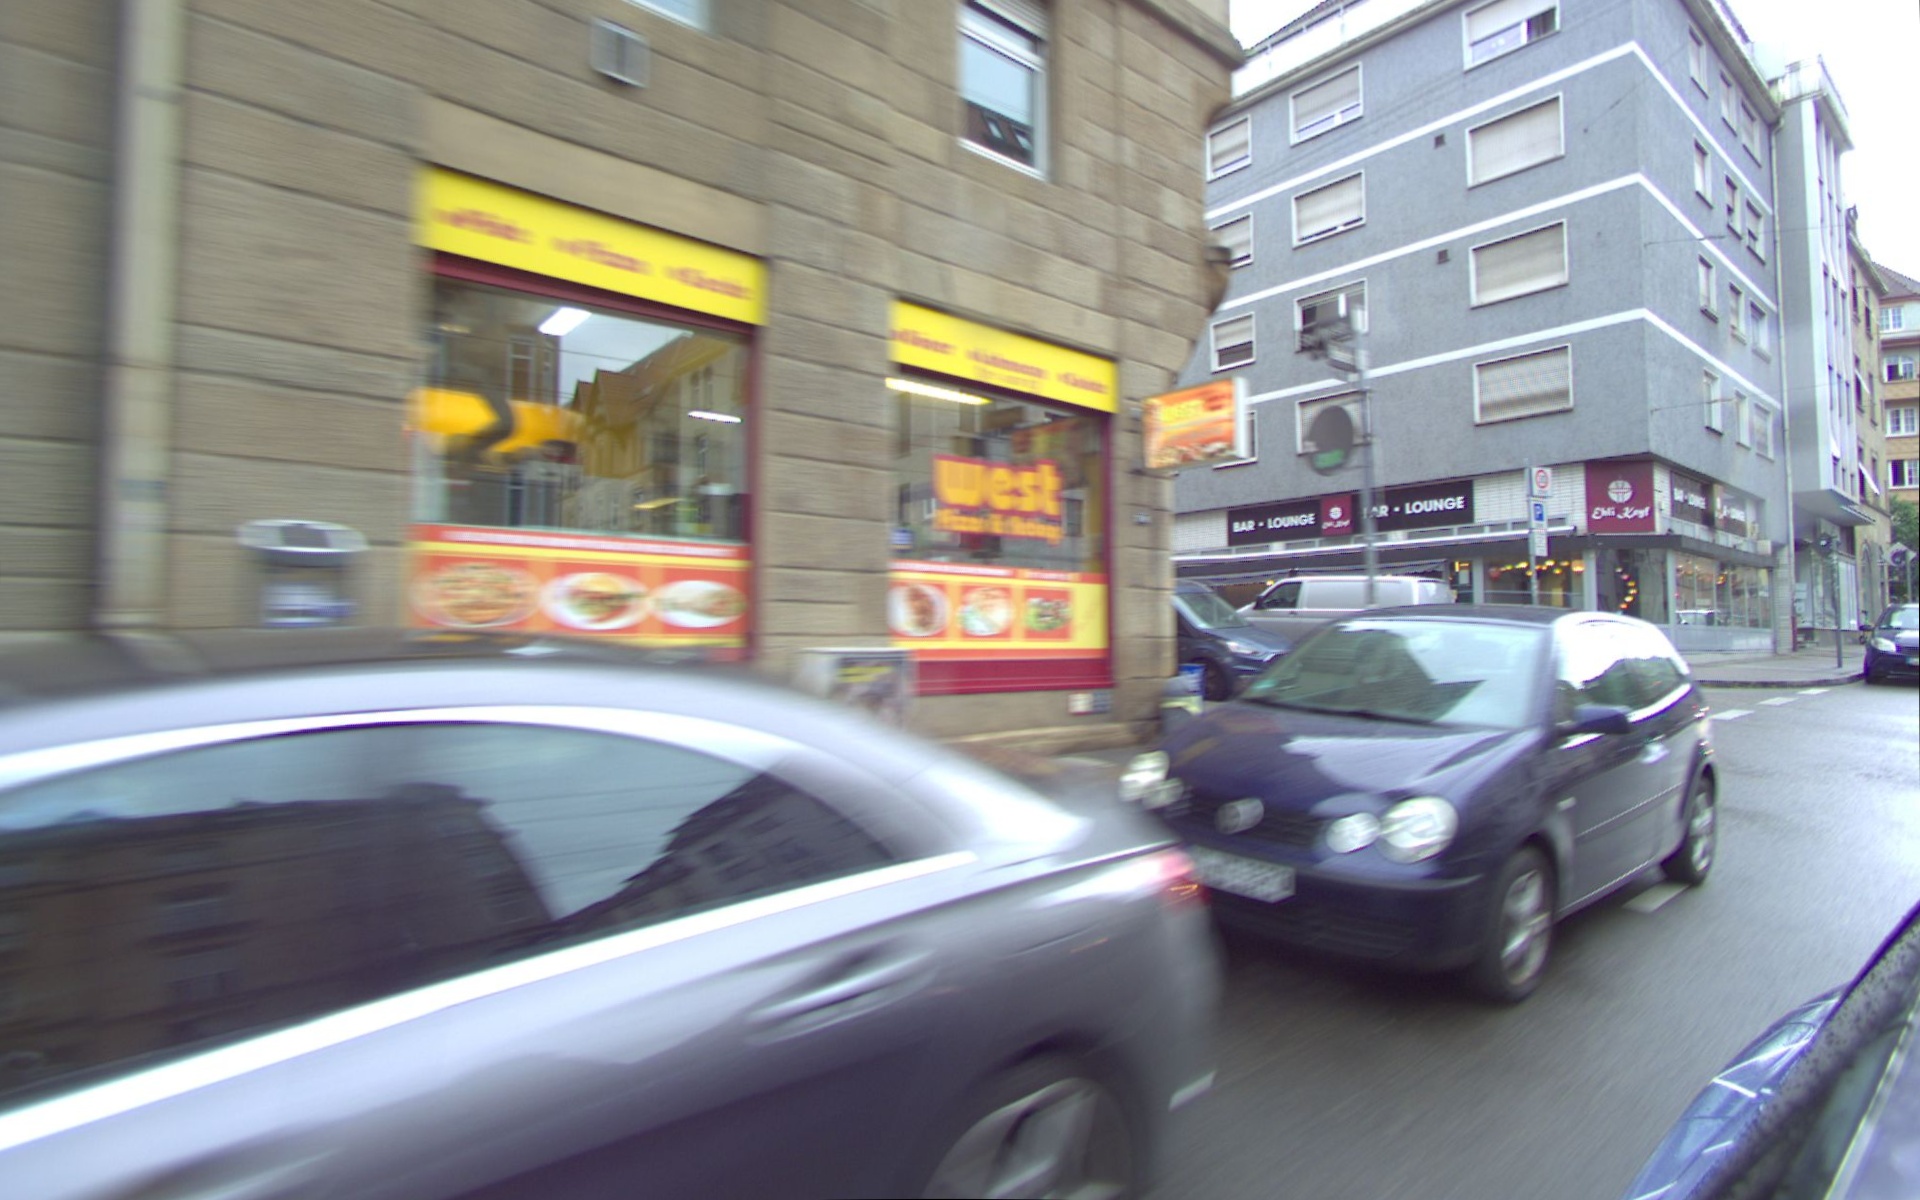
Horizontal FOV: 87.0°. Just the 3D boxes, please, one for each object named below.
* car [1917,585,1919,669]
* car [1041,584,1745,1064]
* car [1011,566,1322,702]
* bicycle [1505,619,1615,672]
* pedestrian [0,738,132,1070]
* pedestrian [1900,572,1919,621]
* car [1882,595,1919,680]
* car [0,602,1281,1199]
[{"bbox_3d":[22.488,0.555,22.165,4.487,1.783,1.795,0,-1,-41],"label":"car"},{"bbox_3d":[2.308,0.678,4.940,3.723,1.462,1.674,0,0,-40],"label":"car"},{"bbox_3d":[3.203,0.412,16.596,1.965,1.885,4.787,0,1,-41],"label":"car"},{"bbox_3d":[11.606,0.866,19.634,0.523,0.986,1.752,0,-2,-39],"label":"bicycle"},{"bbox_3d":[-3.437,1.088,3.707,0.615,1.063,0.511,0,-2,-40],"label":"pedestrian"},{"bbox_3d":[36.708,-0.135,38.844,0.832,1.840,0.852,0,0,-40],"label":"pedestrian"},{"bbox_3d":[18.651,0.676,19.098,3.866,1.501,1.692,0,0,-45],"label":"car"},{"bbox_3d":[-1.426,0.717,1.516,4.411,1.404,1.756,0,0,-44],"label":"car"}]
